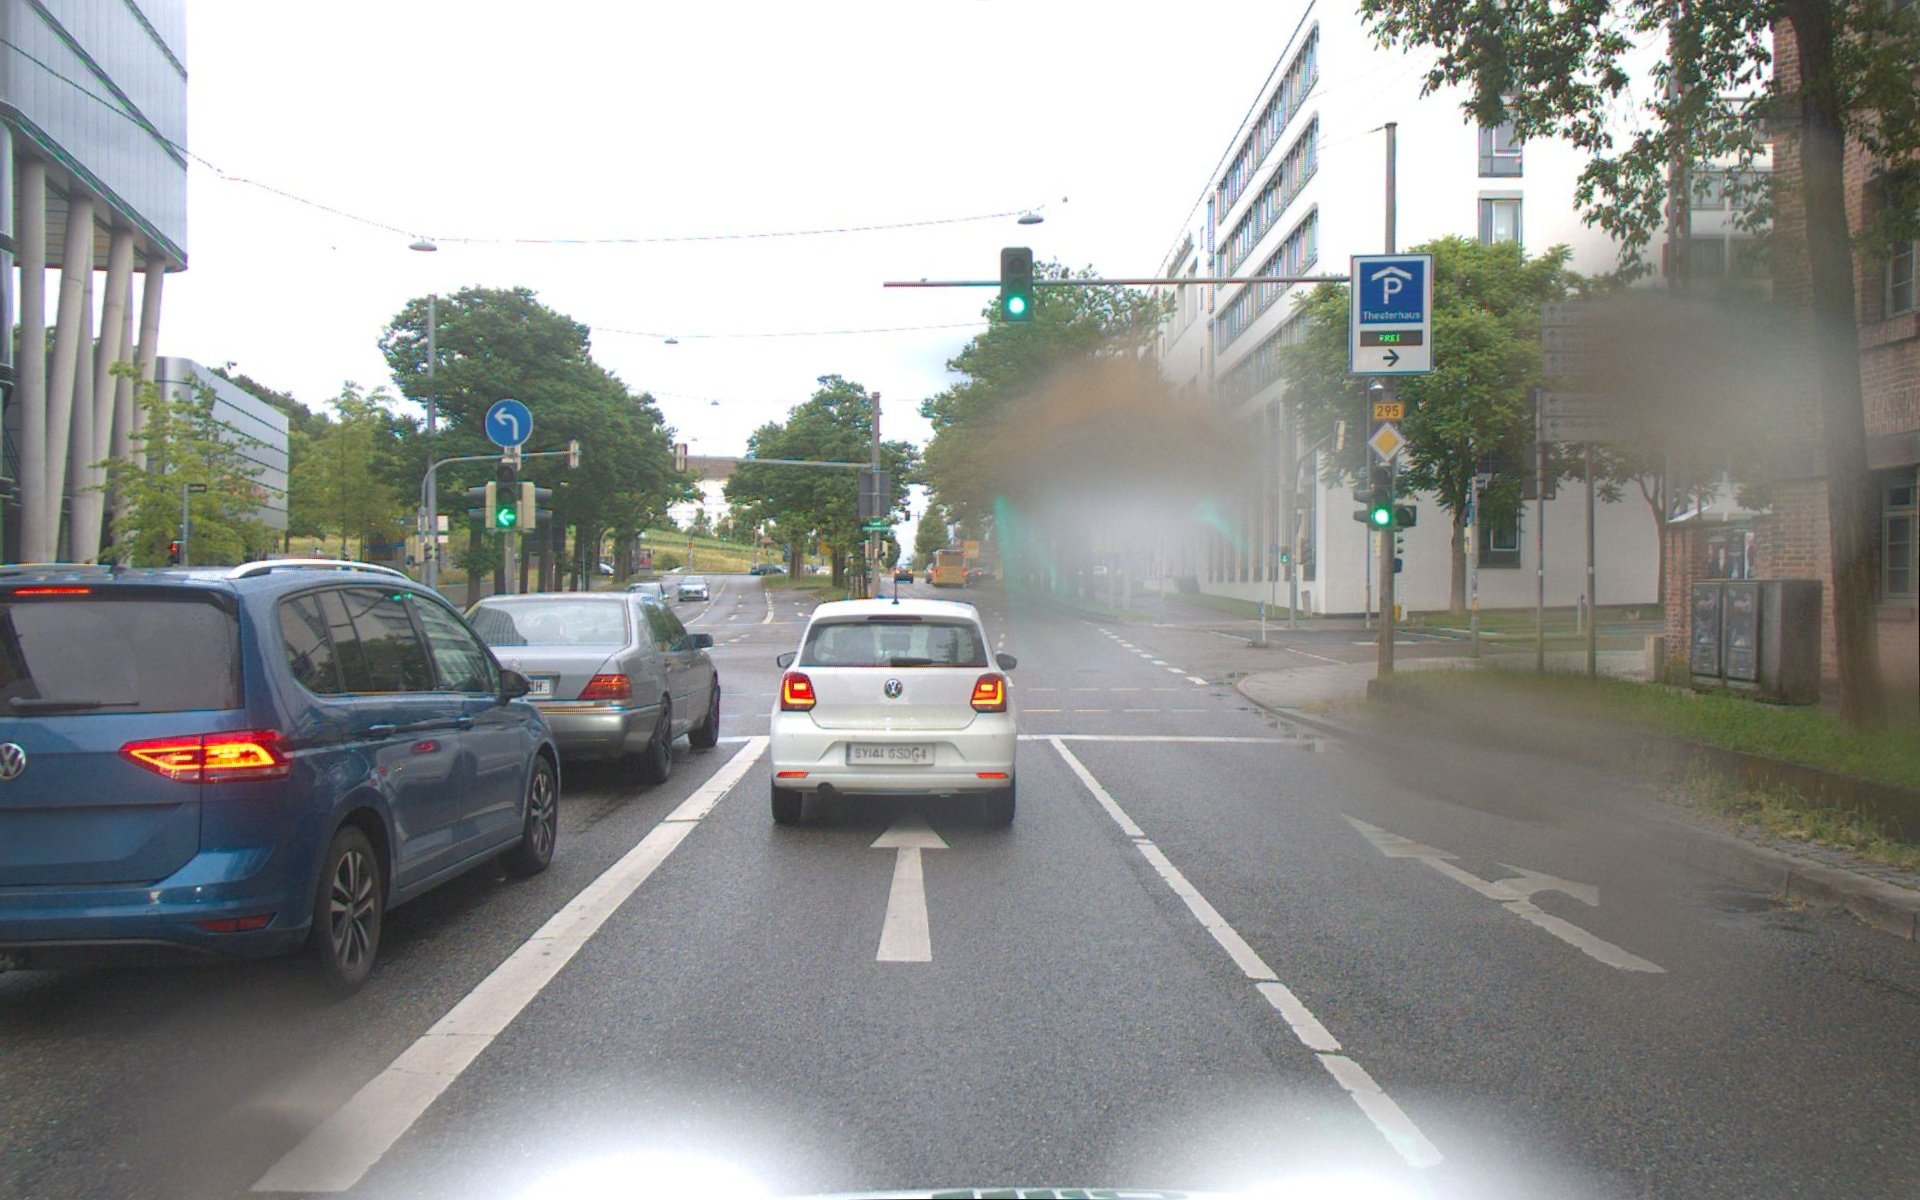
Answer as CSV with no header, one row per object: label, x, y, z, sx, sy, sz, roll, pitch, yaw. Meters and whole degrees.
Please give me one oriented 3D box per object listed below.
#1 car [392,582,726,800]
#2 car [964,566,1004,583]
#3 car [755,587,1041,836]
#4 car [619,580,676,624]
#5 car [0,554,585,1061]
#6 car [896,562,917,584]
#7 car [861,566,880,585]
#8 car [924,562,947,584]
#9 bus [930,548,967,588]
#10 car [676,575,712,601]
car,-3.172,0.643,13.924,1.809,1.537,4.048,-1,0,0
car,2.282,-2.362,154.526,1.670,1.542,3.804,0,0,42
car,-0.438,0.678,12.220,1.758,1.528,3.999,0,0,-2
car,-11.669,0.049,62.001,1.716,1.547,3.813,-1,1,-6
car,-3.061,0.662,7.435,1.736,1.624,4.197,-1,0,0
car,-5.025,-2.528,154.616,1.954,2.049,3.998,0,0,-3
car,-8.496,-2.338,156.209,1.759,1.772,3.997,-1,1,-4
car,-2.318,-2.558,155.625,1.954,2.049,3.998,0,0,-3
bus,-1.024,-2.699,142.277,2.771,3.324,9.995,0,0,-3
car,-15.975,-0.737,99.513,1.779,1.436,4.650,-2,1,-5
